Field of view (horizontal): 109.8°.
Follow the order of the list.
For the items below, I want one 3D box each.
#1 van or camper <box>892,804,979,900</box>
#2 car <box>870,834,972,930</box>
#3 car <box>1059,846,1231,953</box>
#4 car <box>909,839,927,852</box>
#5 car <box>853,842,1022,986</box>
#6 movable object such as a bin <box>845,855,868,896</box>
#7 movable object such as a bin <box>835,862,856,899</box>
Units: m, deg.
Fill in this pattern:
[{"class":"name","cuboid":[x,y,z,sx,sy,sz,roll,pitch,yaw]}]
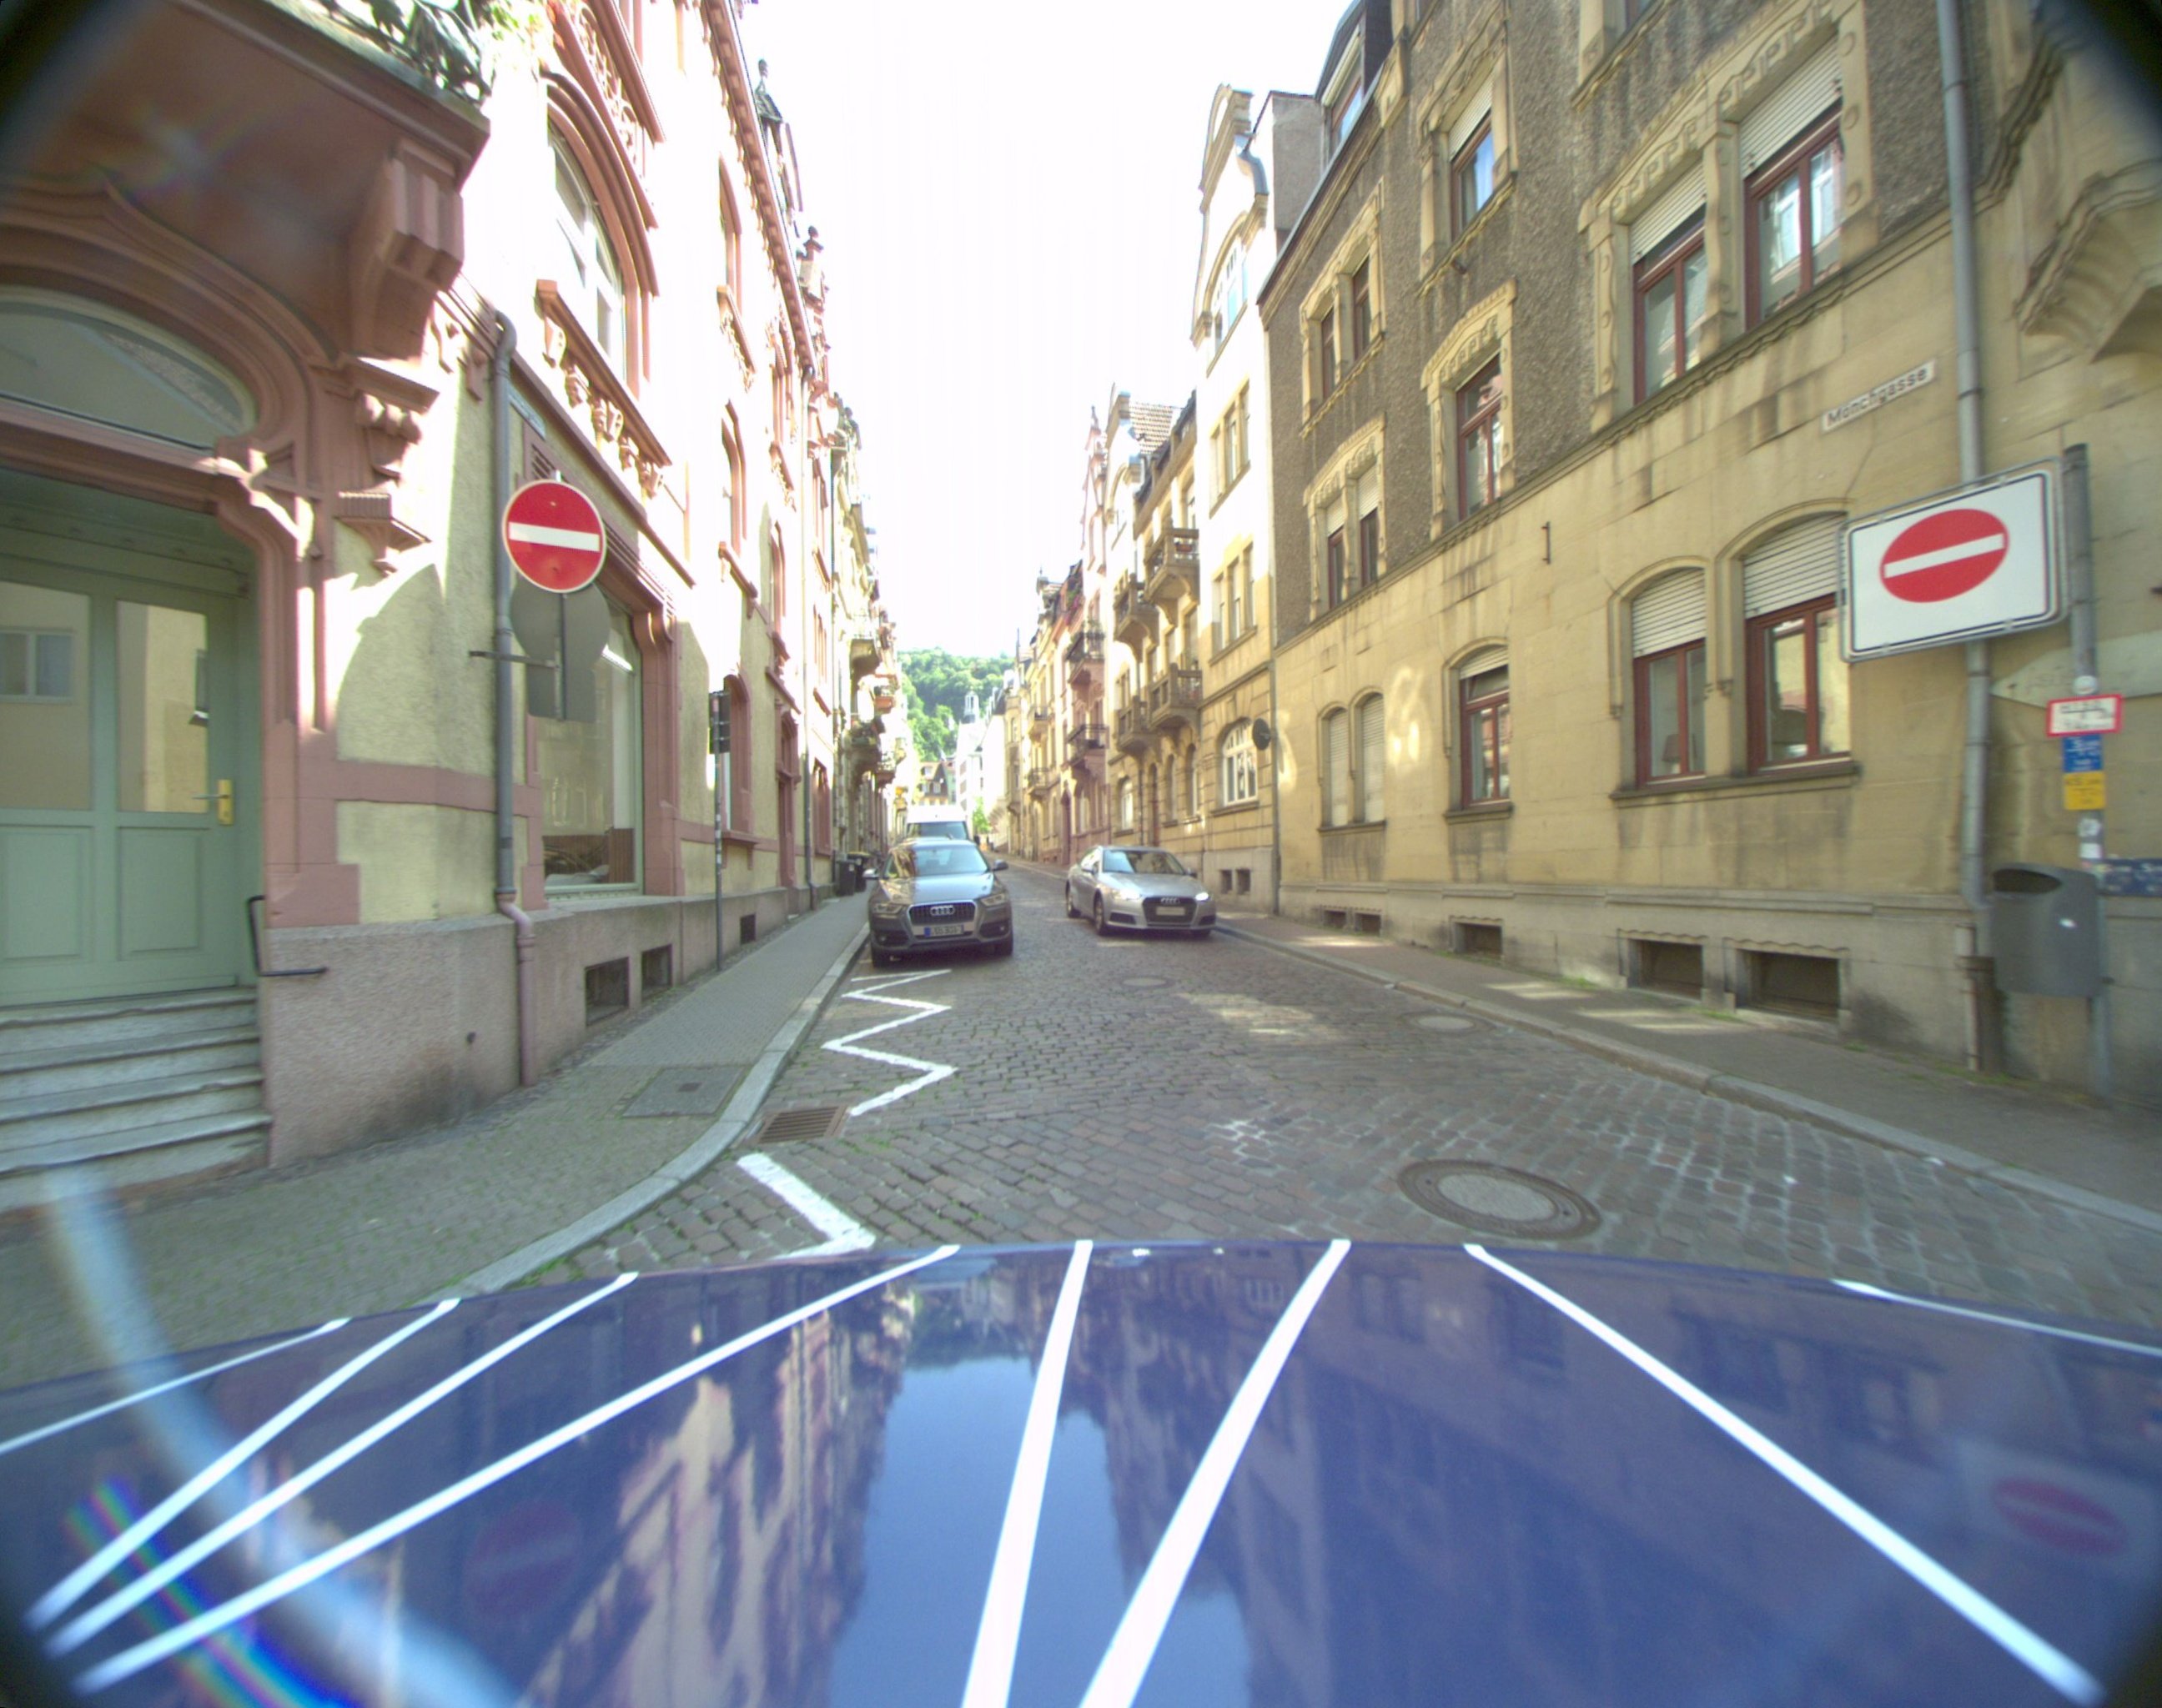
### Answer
[{"class":"van or camper","cuboid":[-4.530,-0.151,23.484,2.227,2.506,6.759,-1,2,-12]},{"class":"car","cuboid":[-3.344,0.475,16.186,1.762,1.696,3.995,-4,2,-11]},{"class":"car","cuboid":[0.880,0.626,13.157,1.877,1.484,4.378,-1,1,-10]},{"class":"car","cuboid":[-23.137,-1.159,107.687,2.001,1.652,3.994,-1,0,-18]},{"class":"car","cuboid":[-2.090,0.656,10.961,1.863,1.574,4.255,-3,2,-12]},{"class":"movable object such as a bin","cuboid":[-6.102,0.590,20.664,0.517,1.083,0.421,-1,0,-11]},{"class":"movable object such as a bin","cuboid":[-6.047,0.675,19.500,0.440,0.952,0.349,-1,0,-11]}]
